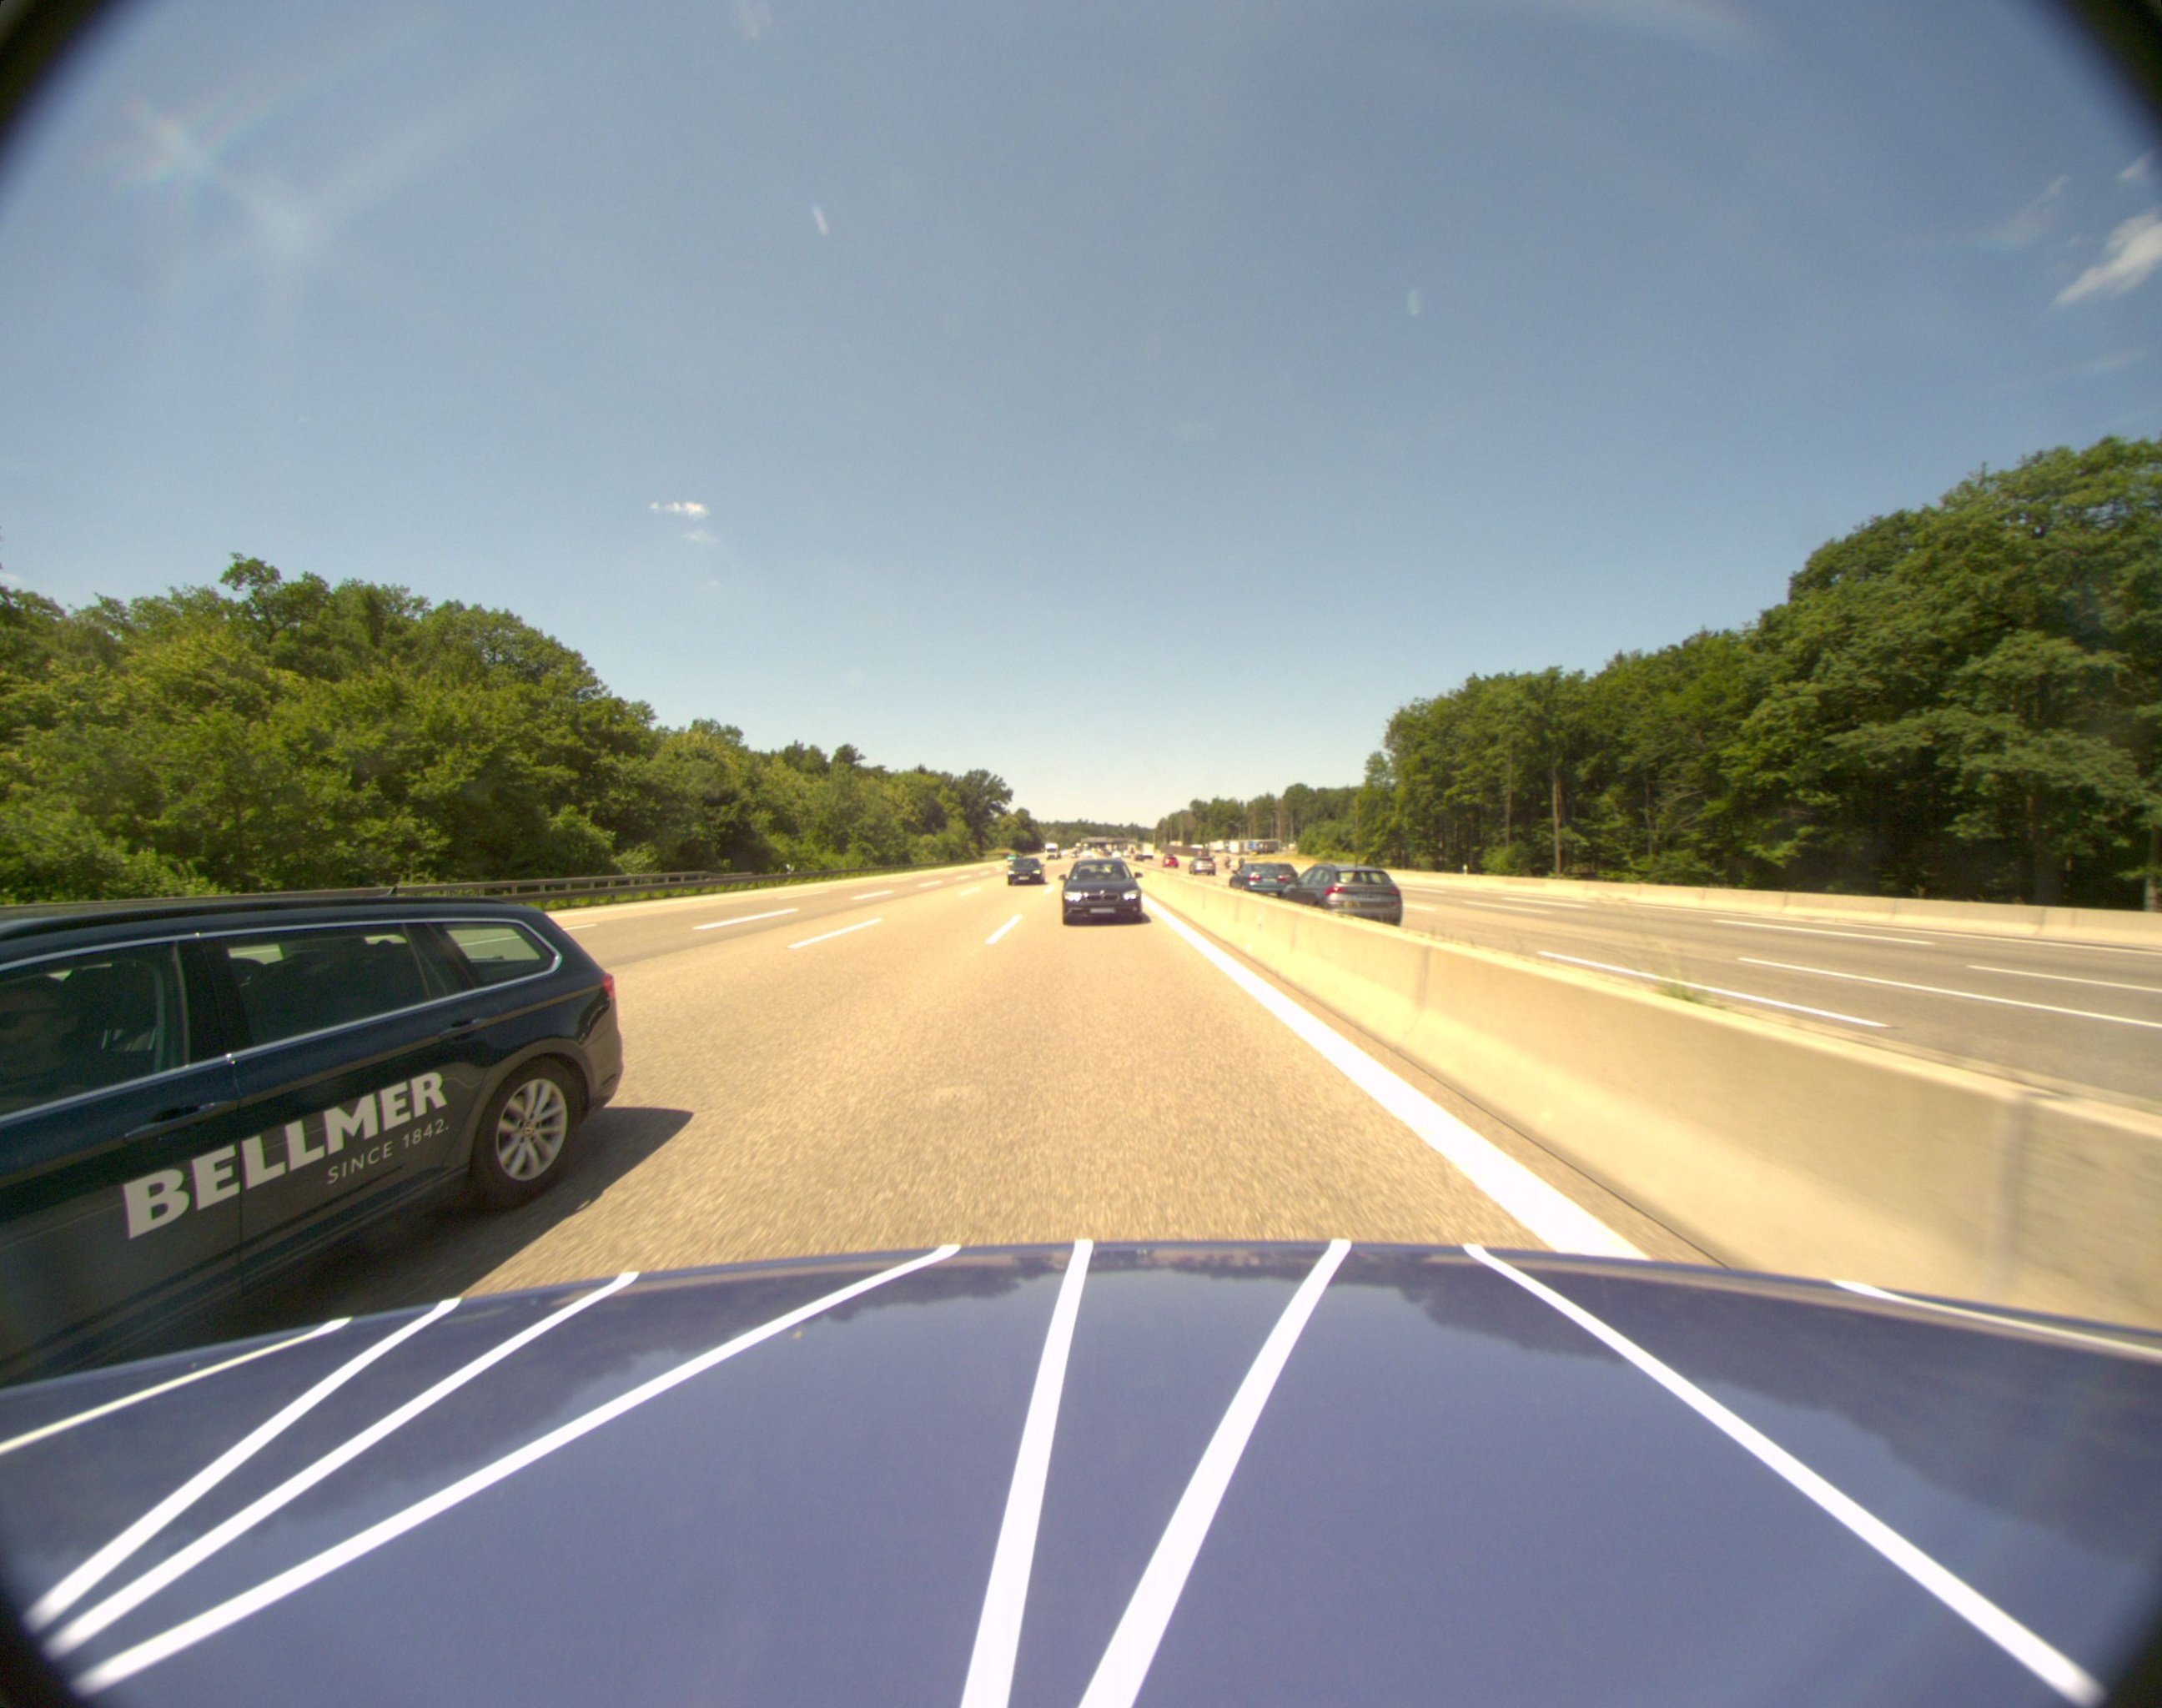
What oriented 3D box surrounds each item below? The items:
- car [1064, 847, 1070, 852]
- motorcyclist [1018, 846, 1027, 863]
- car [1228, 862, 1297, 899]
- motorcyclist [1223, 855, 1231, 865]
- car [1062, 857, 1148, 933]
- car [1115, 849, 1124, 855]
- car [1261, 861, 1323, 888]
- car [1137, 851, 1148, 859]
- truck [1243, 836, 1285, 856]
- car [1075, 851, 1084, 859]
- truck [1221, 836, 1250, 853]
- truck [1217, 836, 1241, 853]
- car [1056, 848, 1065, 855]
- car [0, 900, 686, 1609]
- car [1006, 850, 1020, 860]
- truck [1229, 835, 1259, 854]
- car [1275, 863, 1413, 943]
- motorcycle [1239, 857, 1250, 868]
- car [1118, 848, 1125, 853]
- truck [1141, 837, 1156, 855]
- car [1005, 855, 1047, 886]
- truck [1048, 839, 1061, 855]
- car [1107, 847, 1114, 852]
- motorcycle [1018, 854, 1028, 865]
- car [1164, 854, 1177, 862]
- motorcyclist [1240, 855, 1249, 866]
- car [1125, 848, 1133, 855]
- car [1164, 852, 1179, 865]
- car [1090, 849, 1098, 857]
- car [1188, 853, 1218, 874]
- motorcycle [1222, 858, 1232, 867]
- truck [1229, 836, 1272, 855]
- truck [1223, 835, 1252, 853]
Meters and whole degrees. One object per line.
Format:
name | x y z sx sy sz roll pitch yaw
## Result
car | -4.246 -1.248 231.916 1.874 1.560 4.127 0 0 1
motorcyclist | -6.843 0.085 89.271 0.914 1.926 0.905 0 1 0
car | 7.296 1.066 30.986 1.757 1.368 4.492 1 -2 0
motorcyclist | 19.016 0.774 99.082 0.771 1.294 1.077 1 1 1
car | 0.560 0.862 18.063 1.741 1.450 4.542 -2 1 2
car | 8.815 -0.415 173.287 1.829 1.386 4.464 0 1 -1
car | 11.915 1.108 43.238 1.927 1.341 5.043 0 0 -2
car | 12.040 0.128 148.523 1.706 1.419 4.613 1 1 1
truck | 52.667 -2.381 218.583 16.745 5.580 3.214 -1 1 -44
car | -0.395 0.230 184.760 1.998 1.671 4.127 1 1 2
truck | 49.958 -3.092 245.434 11.562 5.580 3.219 -1 1 -45
truck | 48.504 -3.155 248.804 8.506 5.580 3.219 -1 1 -45
car | -4.898 -0.527 182.193 1.998 1.671 4.127 1 1 2
car | -3.363 1.030 2.248 1.734 1.439 4.961 -1 0 1
car | -12.889 0.202 143.753 1.998 1.671 4.127 1 1 2
truck | 50.726 -2.941 236.457 11.562 5.580 3.358 -1 1 -45
car | 5.865 1.017 17.512 1.721 1.503 4.351 1 0 1
motorcycle | 18.522 0.976 85.976 0.740 1.207 2.349 1 1 1
car | 12.481 -1.233 235.758 1.917 1.503 5.231 1 1 0
truck | 15.954 -1.859 179.391 2.865 3.990 9.467 0 1 1
car | -2.862 0.818 40.215 1.834 1.454 4.203 1 1 1
truck | -5.492 -1.468 158.721 2.429 3.237 8.687 1 1 0
car | 9.002 -1.241 232.030 1.917 1.456 4.362 0 1 0
motorcycle | -6.835 0.623 89.460 0.925 1.311 2.997 0 1 1
car | 18.941 0.838 160.862 2.052 1.665 5.188 1 1 1
motorcyclist | 18.502 0.726 86.088 0.762 1.294 1.077 1 2 1
car | 12.712 -0.630 202.234 1.917 1.651 4.688 1 1 0
car | 11.614 0.580 97.398 1.576 1.503 4.030 1 1 1
car | 3.193 -0.211 184.487 1.998 1.935 4.128 0 0 2
car | 10.625 0.775 66.528 1.975 1.714 4.509 0 0 1
motorcycle | 19.044 1.107 99.145 0.779 1.135 2.756 1 1 1
truck | 49.243 -2.448 220.270 16.745 5.580 3.440 -1 1 -44
truck | 49.463 -3.011 239.933 11.562 5.580 3.219 -1 1 -45
